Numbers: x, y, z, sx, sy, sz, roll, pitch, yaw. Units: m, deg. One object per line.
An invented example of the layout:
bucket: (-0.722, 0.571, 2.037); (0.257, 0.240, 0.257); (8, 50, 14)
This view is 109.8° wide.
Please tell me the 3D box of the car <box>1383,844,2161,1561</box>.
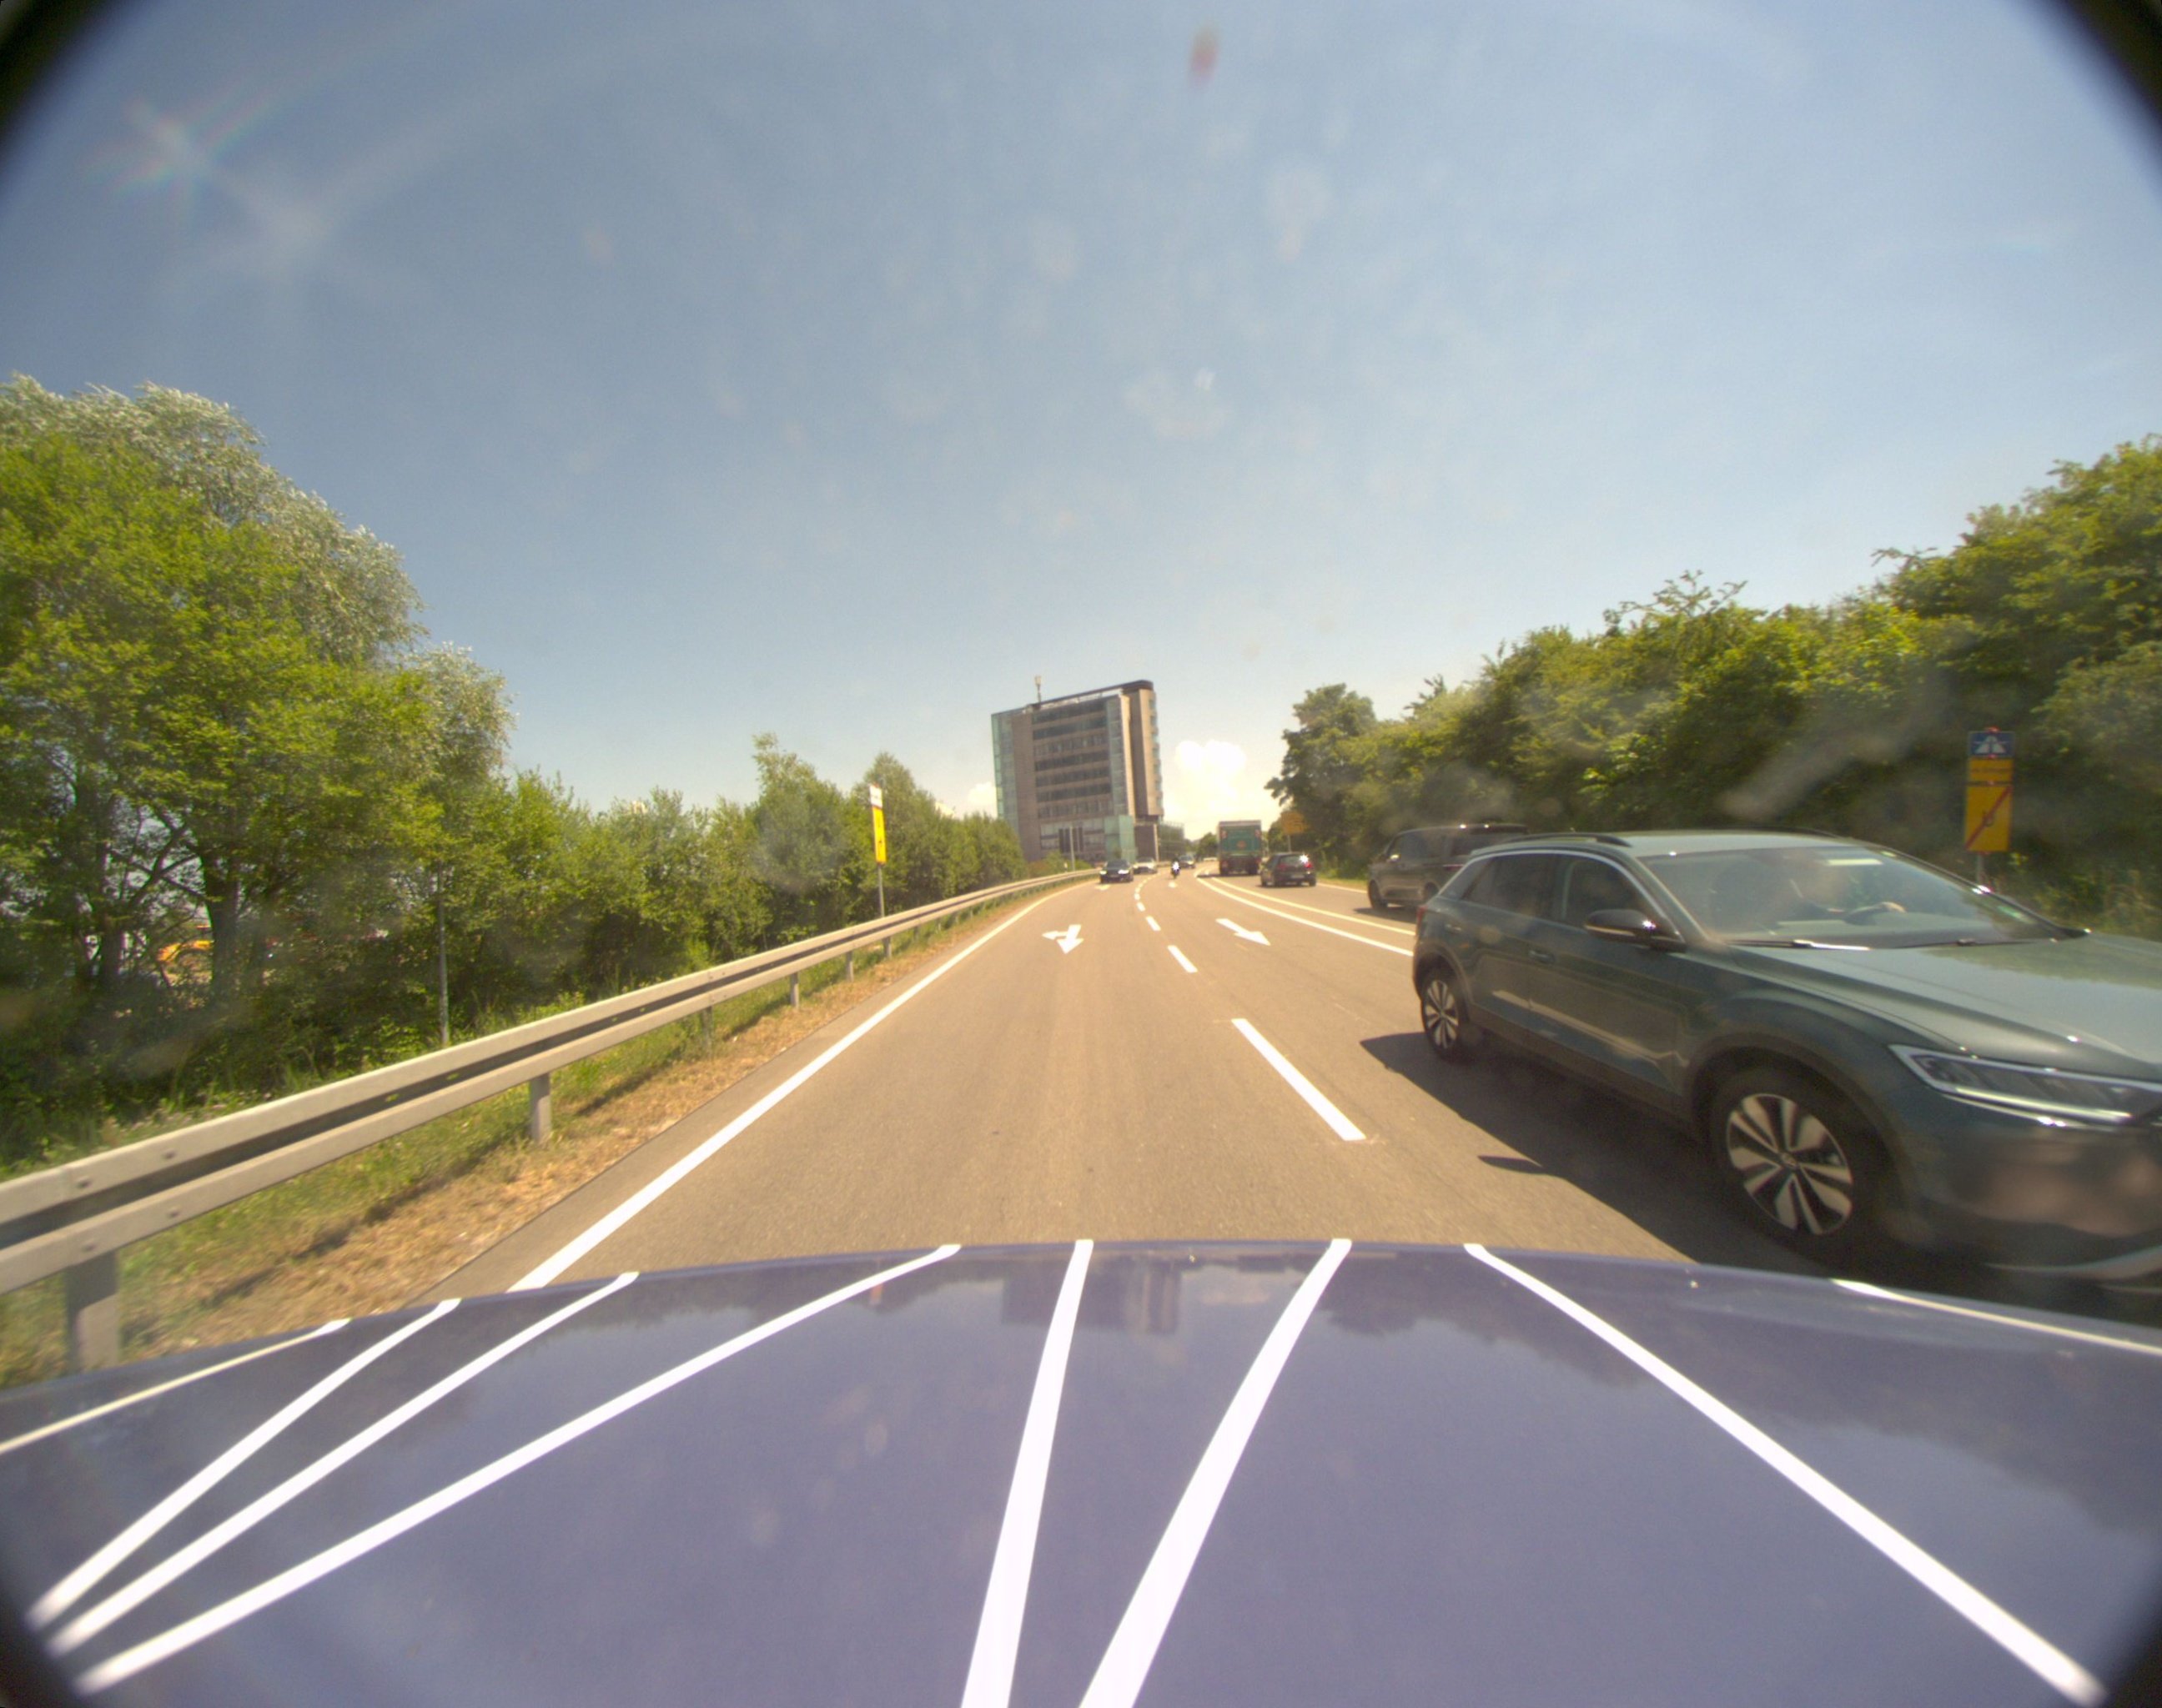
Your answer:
car: (3.329, 0.786, 3.791); (1.839, 1.577, 4.391); (-2, 0, 0)

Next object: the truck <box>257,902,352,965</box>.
truck: (-52.275, 5.345, 51.419); (3.136, 3.661, 9.399); (-3, -3, -38)

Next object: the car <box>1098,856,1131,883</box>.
car: (2.138, 0.953, 47.163); (1.779, 1.497, 4.563); (-3, -1, 5)

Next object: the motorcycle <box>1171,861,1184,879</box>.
motorcycle: (6.337, 1.025, 49.819); (0.734, 1.131, 2.074); (-2, 0, 6)

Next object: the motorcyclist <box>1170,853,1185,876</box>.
motorcyclist: (6.320, 0.677, 49.869); (0.860, 1.479, 1.162); (-2, 0, 6)

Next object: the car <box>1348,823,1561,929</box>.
car: (7.827, 0.410, 16.640); (1.999, 1.883, 5.103); (-2, 0, -1)

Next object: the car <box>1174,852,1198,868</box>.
car: (11.354, 0.631, 81.818); (2.115, 1.581, 4.454); (-3, 0, 12)

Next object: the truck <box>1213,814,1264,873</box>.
truck: (10.663, -0.650, 52.130); (2.874, 3.553, 9.437); (-2, 0, 9)

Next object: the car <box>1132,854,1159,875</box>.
car: (5.711, 0.964, 66.825); (1.932, 1.576, 4.184); (-5, -3, 9)

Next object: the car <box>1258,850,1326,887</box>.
car: (8.954, 0.583, 32.614); (1.881, 1.433, 4.330); (-2, 0, 3)
